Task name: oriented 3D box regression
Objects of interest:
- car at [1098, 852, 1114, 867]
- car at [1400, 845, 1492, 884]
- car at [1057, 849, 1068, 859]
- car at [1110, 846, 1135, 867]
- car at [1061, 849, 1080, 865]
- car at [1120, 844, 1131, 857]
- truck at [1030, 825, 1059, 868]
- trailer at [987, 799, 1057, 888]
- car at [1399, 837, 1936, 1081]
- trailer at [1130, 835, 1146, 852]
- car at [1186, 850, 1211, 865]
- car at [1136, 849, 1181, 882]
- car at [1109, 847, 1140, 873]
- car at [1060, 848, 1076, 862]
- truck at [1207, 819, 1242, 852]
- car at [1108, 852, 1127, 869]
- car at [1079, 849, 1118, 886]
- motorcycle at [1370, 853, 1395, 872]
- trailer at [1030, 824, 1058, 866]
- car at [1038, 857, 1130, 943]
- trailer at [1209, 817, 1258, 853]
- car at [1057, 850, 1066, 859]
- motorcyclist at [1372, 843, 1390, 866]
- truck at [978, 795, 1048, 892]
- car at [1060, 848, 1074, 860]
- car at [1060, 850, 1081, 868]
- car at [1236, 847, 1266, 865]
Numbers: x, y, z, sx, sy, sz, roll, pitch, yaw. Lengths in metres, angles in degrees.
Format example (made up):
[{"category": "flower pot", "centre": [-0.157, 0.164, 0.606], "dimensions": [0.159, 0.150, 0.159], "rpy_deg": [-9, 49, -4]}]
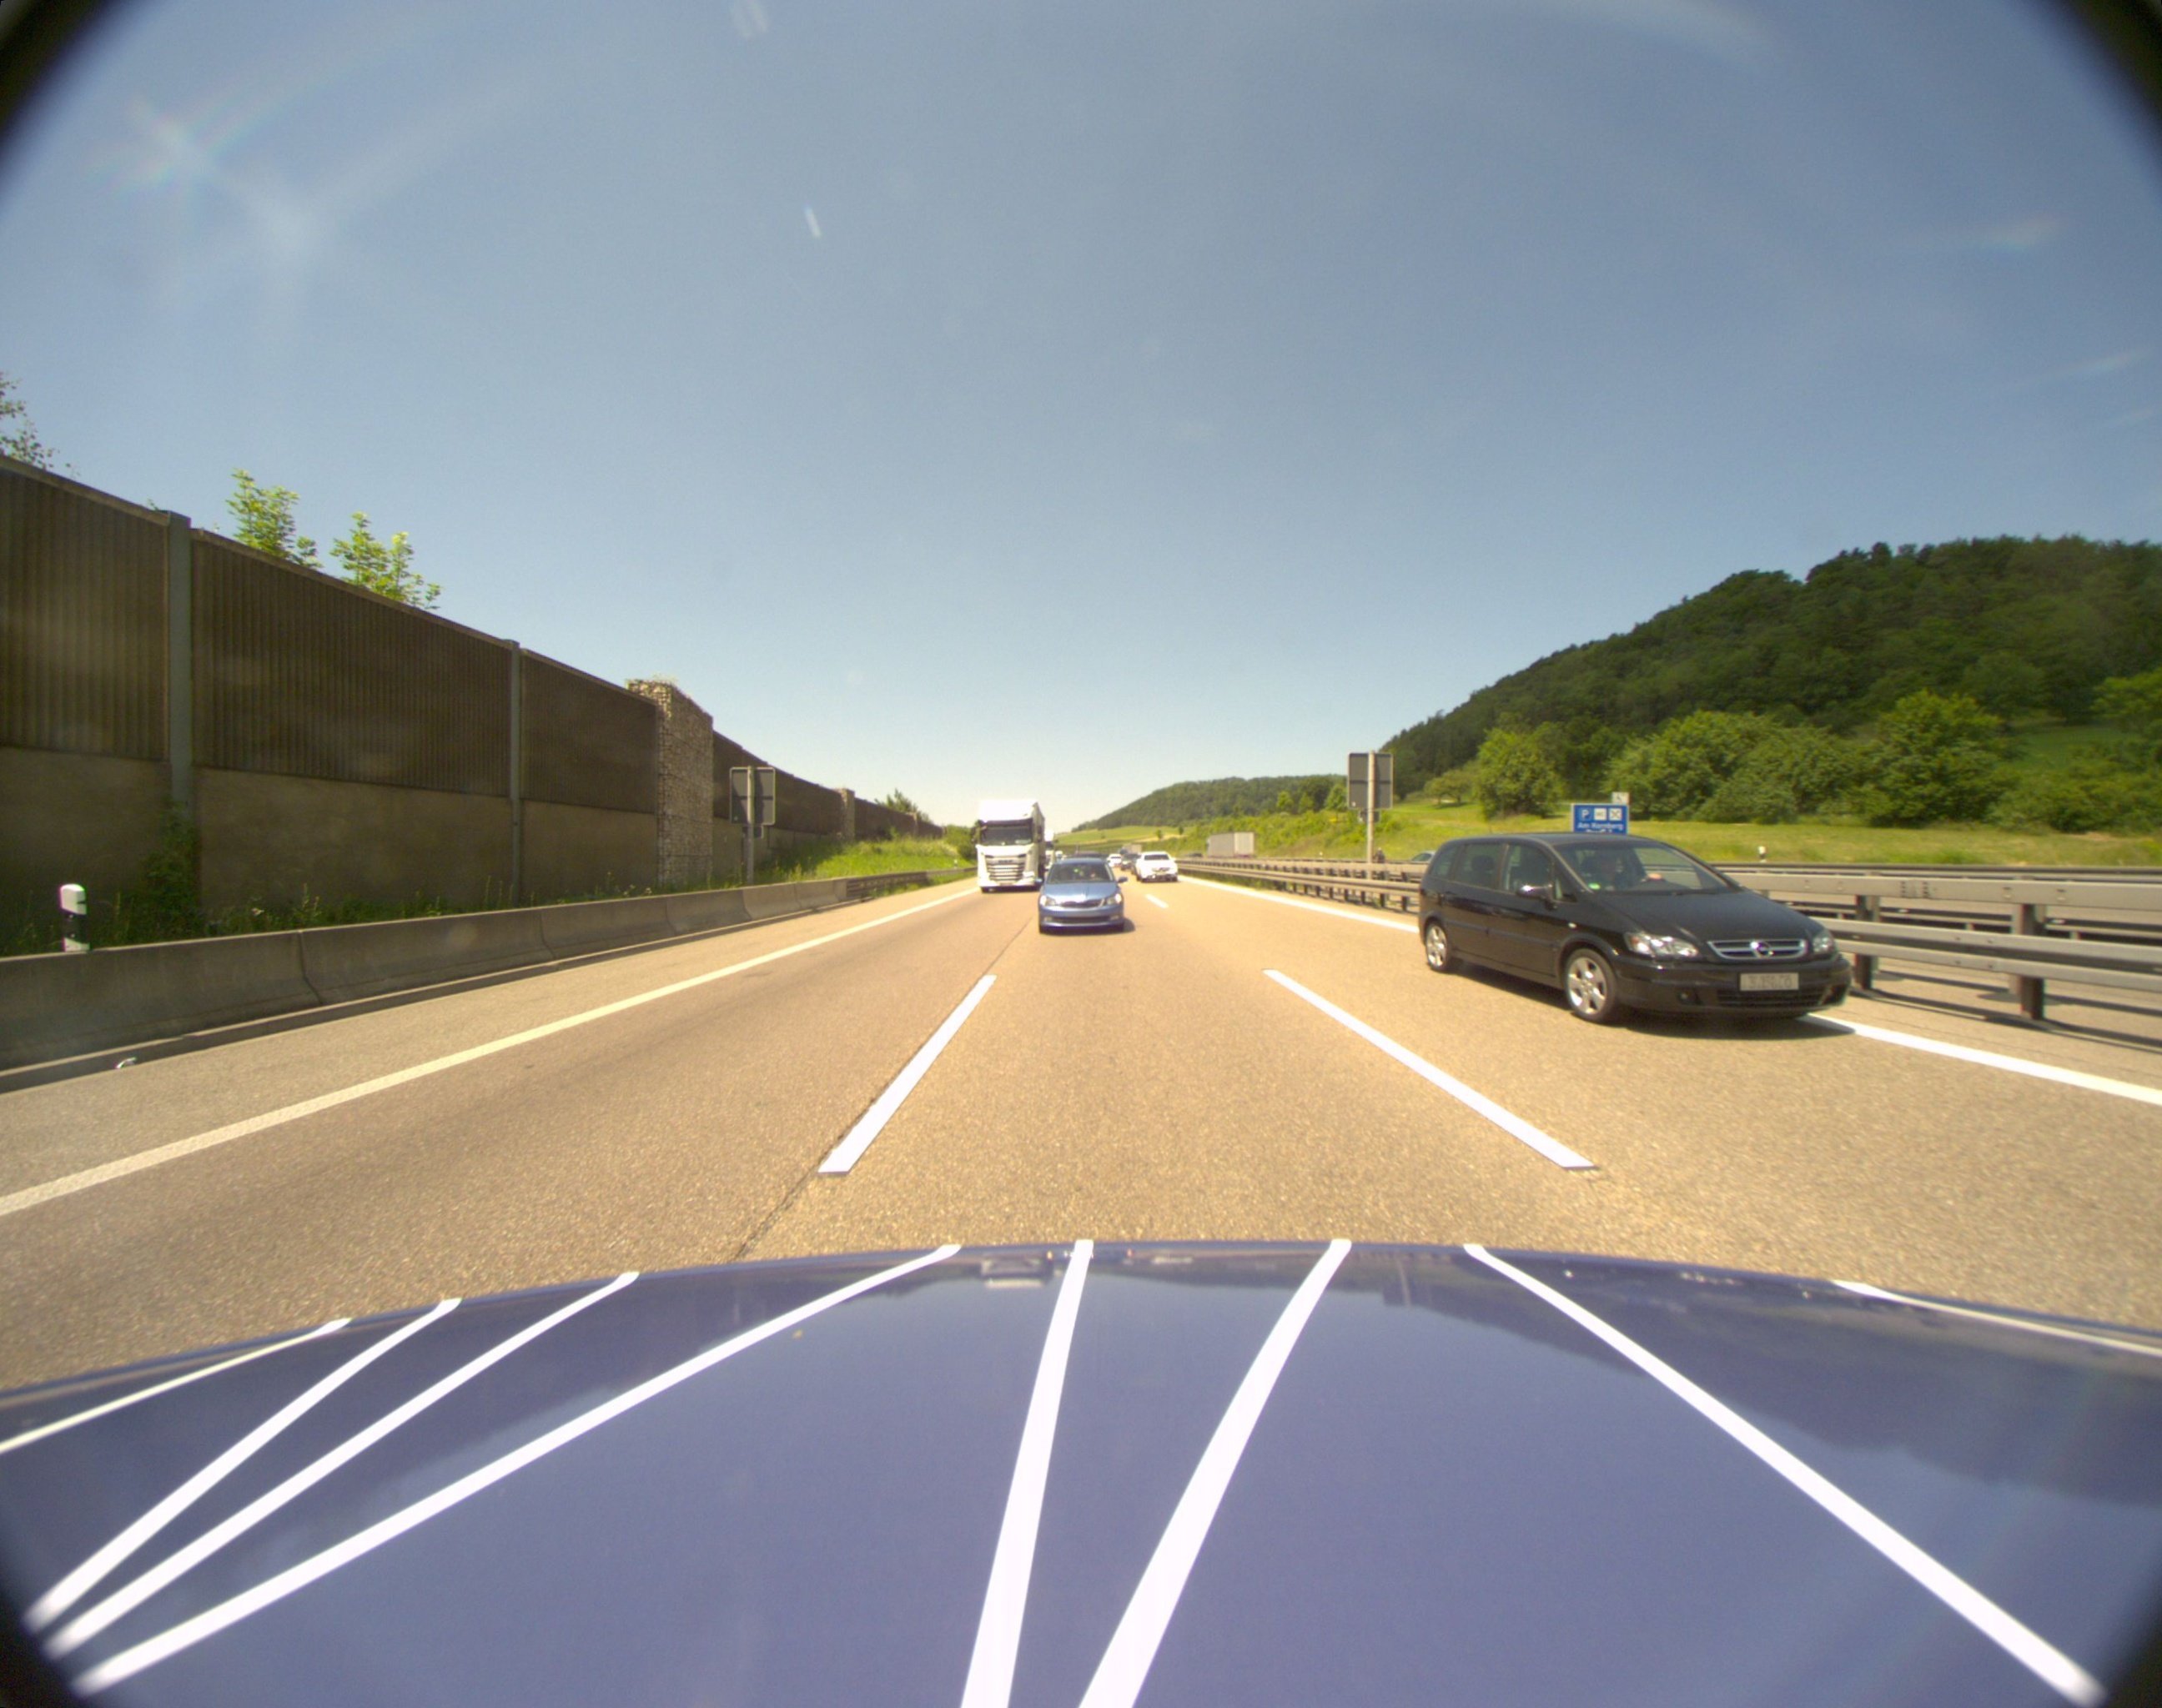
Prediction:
[{"category": "car", "centre": [3.154, 0.672, 97.214], "dimensions": [1.998, 1.702, 3.999], "rpy_deg": [-2, 1, 1]}, {"category": "car", "centre": [15.504, 0.413, 32.496], "dimensions": [1.998, 1.488, 3.999], "rpy_deg": [-2, 1, 0]}, {"category": "car", "centre": [-3.555, -0.059, 145.861], "dimensions": [1.999, 1.702, 3.998], "rpy_deg": [-2, 1, -3]}, {"category": "car", "centre": [3.675, 0.228, 67.926], "dimensions": [1.998, 1.702, 3.999], "rpy_deg": [-2, 1, 1]}, {"category": "car", "centre": [-1.267, 0.334, 87.929], "dimensions": [1.999, 1.702, 3.998], "rpy_deg": [-2, 1, -3]}, {"category": "car", "centre": [10.678, -0.847, 181.656], "dimensions": [2.161, 2.846, 6.398], "rpy_deg": [-2, 1, 0]}, {"category": "truck", "centre": [-3.722, -0.805, 76.441], "dimensions": [2.532, 4.065, 6.076], "rpy_deg": [-2, 1, -4]}, {"category": "trailer", "centre": [-2.890, -0.508, 41.126], "dimensions": [2.484, 3.954, 13.654], "rpy_deg": [-1, 0, 1]}, {"category": "car", "centre": [4.941, 0.704, 7.410], "dimensions": [1.805, 1.625, 4.445], "rpy_deg": [-1, 0, 0]}, {"category": "trailer", "centre": [14.312, -2.640, 193.028], "dimensions": [2.862, 4.167, 13.612], "rpy_deg": [-2, 1, 0]}, {"category": "car", "centre": [12.035, 0.355, 78.200], "dimensions": [1.754, 1.459, 4.627], "rpy_deg": [-1, 0, -1]}, {"category": "car", "centre": [4.025, 0.560, 40.235], "dimensions": [1.998, 1.612, 4.000], "rpy_deg": [-2, 1, 1]}, {"category": "car", "centre": [3.128, 0.405, 54.855], "dimensions": [1.998, 1.692, 3.999], "rpy_deg": [-2, 1, 1]}, {"category": "car", "centre": [-1.795, 0.142, 101.977], "dimensions": [1.999, 1.702, 3.998], "rpy_deg": [-2, 1, -3]}, {"category": "truck", "centre": [18.948, -2.434, 100.916], "dimensions": [3.286, 4.124, 6.954], "rpy_deg": [-2, 1, 0]}, {"category": "car", "centre": [4.171, 0.738, 86.547], "dimensions": [1.998, 1.702, 3.999], "rpy_deg": [-2, 1, 1]}, {"category": "car", "centre": [0.802, 0.614, 36.825], "dimensions": [1.737, 1.674, 4.197], "rpy_deg": [-1, 0, 0]}, {"category": "motorcycle", "centre": [19.490, 0.533, 49.215], "dimensions": [0.719, 1.143, 2.129], "rpy_deg": [-1, 1, -1]}, {"category": "trailer", "centre": [-4.158, -1.018, 82.390], "dimensions": [2.545, 4.085, 13.621], "rpy_deg": [-2, 1, -4]}, {"category": "car", "centre": [-0.038, 0.849, 16.147], "dimensions": [1.660, 1.481, 4.652], "rpy_deg": [-1, 0, -2]}, {"category": "trailer", "centre": [18.972, -2.343, 95.655], "dimensions": [3.255, 4.180, 12.996], "rpy_deg": [-2, 1, 0]}, {"category": "car", "centre": [-4.655, 0.188, 180.217], "dimensions": [1.999, 2.002, 3.998], "rpy_deg": [-2, 1, -2]}, {"category": "motorcyclist", "centre": [19.475, 0.013, 49.365], "dimensions": [0.846, 1.492, 0.838], "rpy_deg": [-1, 1, -1]}, {"category": "truck", "centre": [-2.949, -0.445, 34.744], "dimensions": [2.484, 3.954, 6.380], "rpy_deg": [-1, 1, 1]}, {"category": "car", "centre": [-2.177, -0.050, 115.684], "dimensions": [1.999, 1.702, 3.998], "rpy_deg": [-2, 1, -3]}, {"category": "car", "centre": [-1.158, 0.467, 78.791], "dimensions": [1.999, 1.702, 3.998], "rpy_deg": [-2, 1, -3]}, {"category": "car", "centre": [16.150, 0.191, 72.351], "dimensions": [1.874, 1.608, 4.355], "rpy_deg": [-1, 0, 0]}]
